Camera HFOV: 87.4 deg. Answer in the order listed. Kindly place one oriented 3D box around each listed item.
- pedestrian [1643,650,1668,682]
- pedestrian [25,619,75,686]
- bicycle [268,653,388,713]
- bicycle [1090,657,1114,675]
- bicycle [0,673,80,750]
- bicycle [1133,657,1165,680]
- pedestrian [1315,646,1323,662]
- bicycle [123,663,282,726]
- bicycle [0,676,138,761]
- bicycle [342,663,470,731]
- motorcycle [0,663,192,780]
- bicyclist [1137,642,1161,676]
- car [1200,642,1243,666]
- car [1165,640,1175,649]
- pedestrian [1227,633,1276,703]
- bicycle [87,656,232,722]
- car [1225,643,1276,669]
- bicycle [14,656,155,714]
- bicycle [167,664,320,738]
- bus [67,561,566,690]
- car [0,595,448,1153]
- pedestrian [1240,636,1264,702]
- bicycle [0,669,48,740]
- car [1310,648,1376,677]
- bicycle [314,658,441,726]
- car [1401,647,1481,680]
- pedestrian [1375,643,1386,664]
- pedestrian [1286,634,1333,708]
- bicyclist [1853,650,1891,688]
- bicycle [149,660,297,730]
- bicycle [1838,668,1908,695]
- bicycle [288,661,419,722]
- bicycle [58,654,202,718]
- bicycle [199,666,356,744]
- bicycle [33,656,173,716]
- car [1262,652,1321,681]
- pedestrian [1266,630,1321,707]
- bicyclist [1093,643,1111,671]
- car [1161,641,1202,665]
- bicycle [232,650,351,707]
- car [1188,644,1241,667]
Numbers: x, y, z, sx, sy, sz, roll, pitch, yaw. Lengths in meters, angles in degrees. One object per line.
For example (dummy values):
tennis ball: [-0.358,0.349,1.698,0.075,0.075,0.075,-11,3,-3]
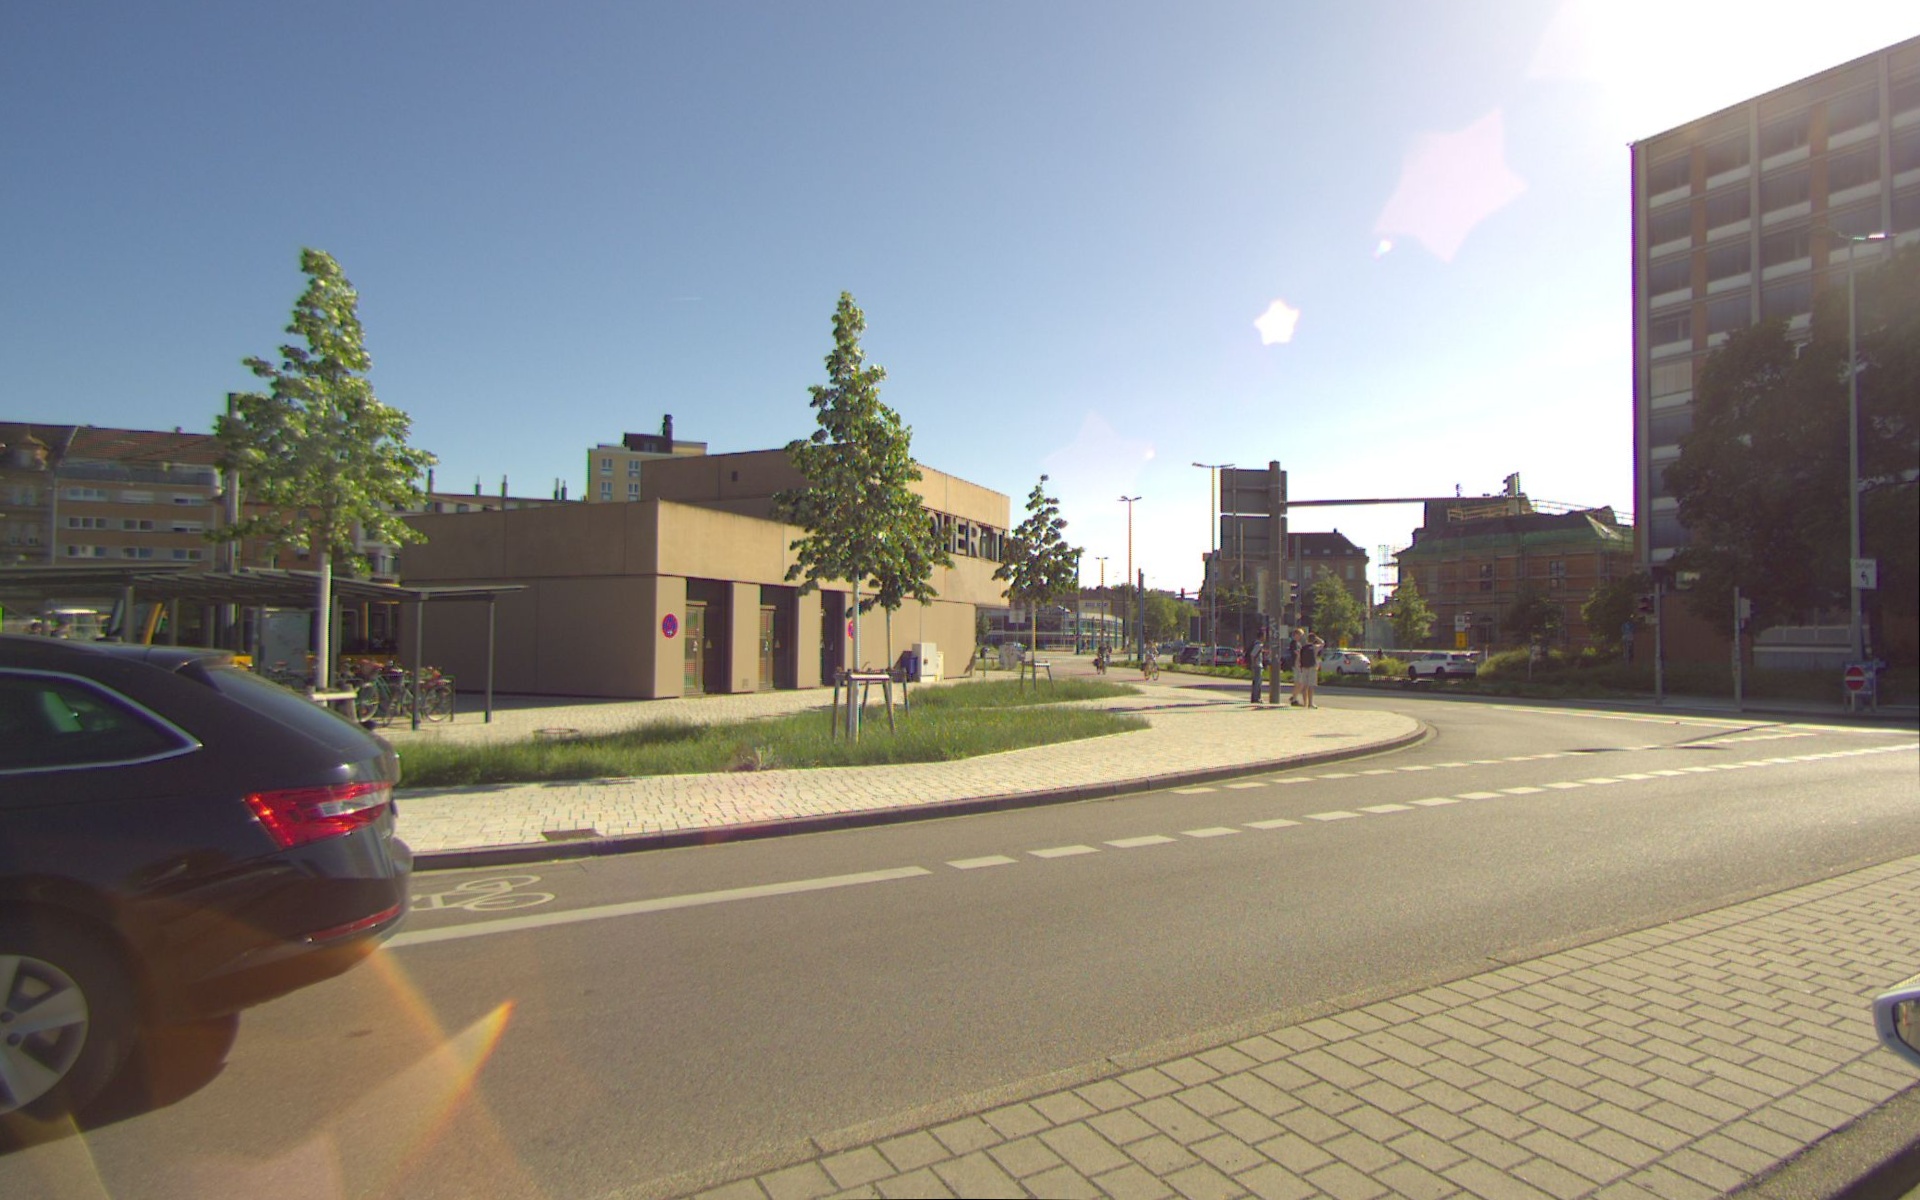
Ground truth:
pedestrian: [35.115,3.347,50.745,0.548,1.591,0.863,-1,-5,-3]
pedestrian: [-26.856,1.541,29.647,0.755,1.942,0.803,0,-2,23]
bicycle: [-12.740,1.647,20.328,0.524,1.051,2.070,2,0,26]
bicycle: [7.450,3.455,52.751,0.675,0.930,1.988,1,-4,-9]
bicycle: [-13.228,1.543,13.813,0.399,0.985,1.683,2,0,22]
bicycle: [8.374,3.038,44.537,0.728,1.008,1.988,1,-4,-10]
pedestrian: [38.433,5.773,107.624,0.645,1.758,0.680,0,-2,1]
bicycle: [-13.707,1.677,18.261,0.673,0.956,2.233,2,0,25]
bicycle: [-12.200,1.573,13.578,0.399,0.985,1.683,2,0,22]
bicycle: [-9.965,1.721,18.161,0.524,1.051,2.070,2,0,26]
motorcycle: [-10.846,1.447,12.476,0.558,1.235,2.087,0,-1,21]
bicyclist: [8.382,2.624,44.558,0.728,1.519,1.070,1,-4,-11]
car: [19.621,4.031,75.505,1.809,1.653,4.386,1,-2,-4]
car: [45.574,9.663,217.976,1.959,2.040,4.003,0,-2,7]
pedestrian: [7.390,1.729,25.470,0.831,1.711,0.896,5,-5,-34]
bicycle: [-15.015,1.640,18.905,0.524,1.051,2.070,5,1,26]
car: [20.041,3.837,69.433,1.810,1.653,4.382,1,-2,-8]
bicycle: [-17.769,1.697,20.457,0.524,1.051,2.070,5,0,26]
bicycle: [-11.962,1.654,16.860,0.524,1.051,2.070,2,0,26]
bus: [-18.541,0.862,31.118,2.810,3.112,13.620,0,-2,25]
car: [-4.185,0.773,2.826,4.733,1.524,1.803,1,-4,-33]
pedestrian: [7.844,1.847,27.020,0.585,1.751,0.580,0,-2,14]
bicycle: [-14.198,1.525,14.375,0.399,0.985,1.683,2,0,22]
car: [21.269,3.466,55.923,1.711,1.454,3.843,1,-2,-10]
bicycle: [-10.795,1.683,18.699,0.594,1.093,2.053,2,0,25]
car: [27.142,3.556,56.819,1.809,1.653,4.835,1,-2,-6]
pedestrian: [32.437,4.130,77.503,0.636,1.637,0.548,0,-2,10]
pedestrian: [8.332,1.692,23.976,0.775,1.711,0.793,2,-5,-12]
bicyclist: [35.904,2.723,39.554,0.588,1.448,0.937,1,-2,-14]
bicycle: [-12.896,1.629,17.657,0.524,1.051,2.070,2,0,26]
bicycle: [35.901,3.189,39.540,0.588,0.976,2.078,1,-2,-13]
bicycle: [-11.760,1.749,19.572,0.679,1.011,2.140,2,0,26]
bicycle: [-15.900,1.623,19.320,0.524,1.051,2.070,5,1,26]
bicycle: [-10.901,1.649,16.133,0.524,1.051,2.070,2,0,26]
bicycle: [-16.881,1.677,19.849,0.524,1.051,2.070,-2,-2,26]
car: [20.701,4.130,62.888,1.810,1.653,4.382,1,-2,-8]
pedestrian: [8.191,1.689,24.704,1.083,1.822,0.704,2,-4,-8]
bicyclist: [7.456,2.998,52.779,0.675,1.440,1.126,1,-4,-9]
car: [16.524,3.936,75.124,1.809,1.653,4.386,1,-2,-4]
bicycle: [-13.915,1.615,20.993,0.524,1.051,2.070,2,0,26]
car: [17.271,3.762,68.325,1.810,1.406,4.895,1,-2,-8]
